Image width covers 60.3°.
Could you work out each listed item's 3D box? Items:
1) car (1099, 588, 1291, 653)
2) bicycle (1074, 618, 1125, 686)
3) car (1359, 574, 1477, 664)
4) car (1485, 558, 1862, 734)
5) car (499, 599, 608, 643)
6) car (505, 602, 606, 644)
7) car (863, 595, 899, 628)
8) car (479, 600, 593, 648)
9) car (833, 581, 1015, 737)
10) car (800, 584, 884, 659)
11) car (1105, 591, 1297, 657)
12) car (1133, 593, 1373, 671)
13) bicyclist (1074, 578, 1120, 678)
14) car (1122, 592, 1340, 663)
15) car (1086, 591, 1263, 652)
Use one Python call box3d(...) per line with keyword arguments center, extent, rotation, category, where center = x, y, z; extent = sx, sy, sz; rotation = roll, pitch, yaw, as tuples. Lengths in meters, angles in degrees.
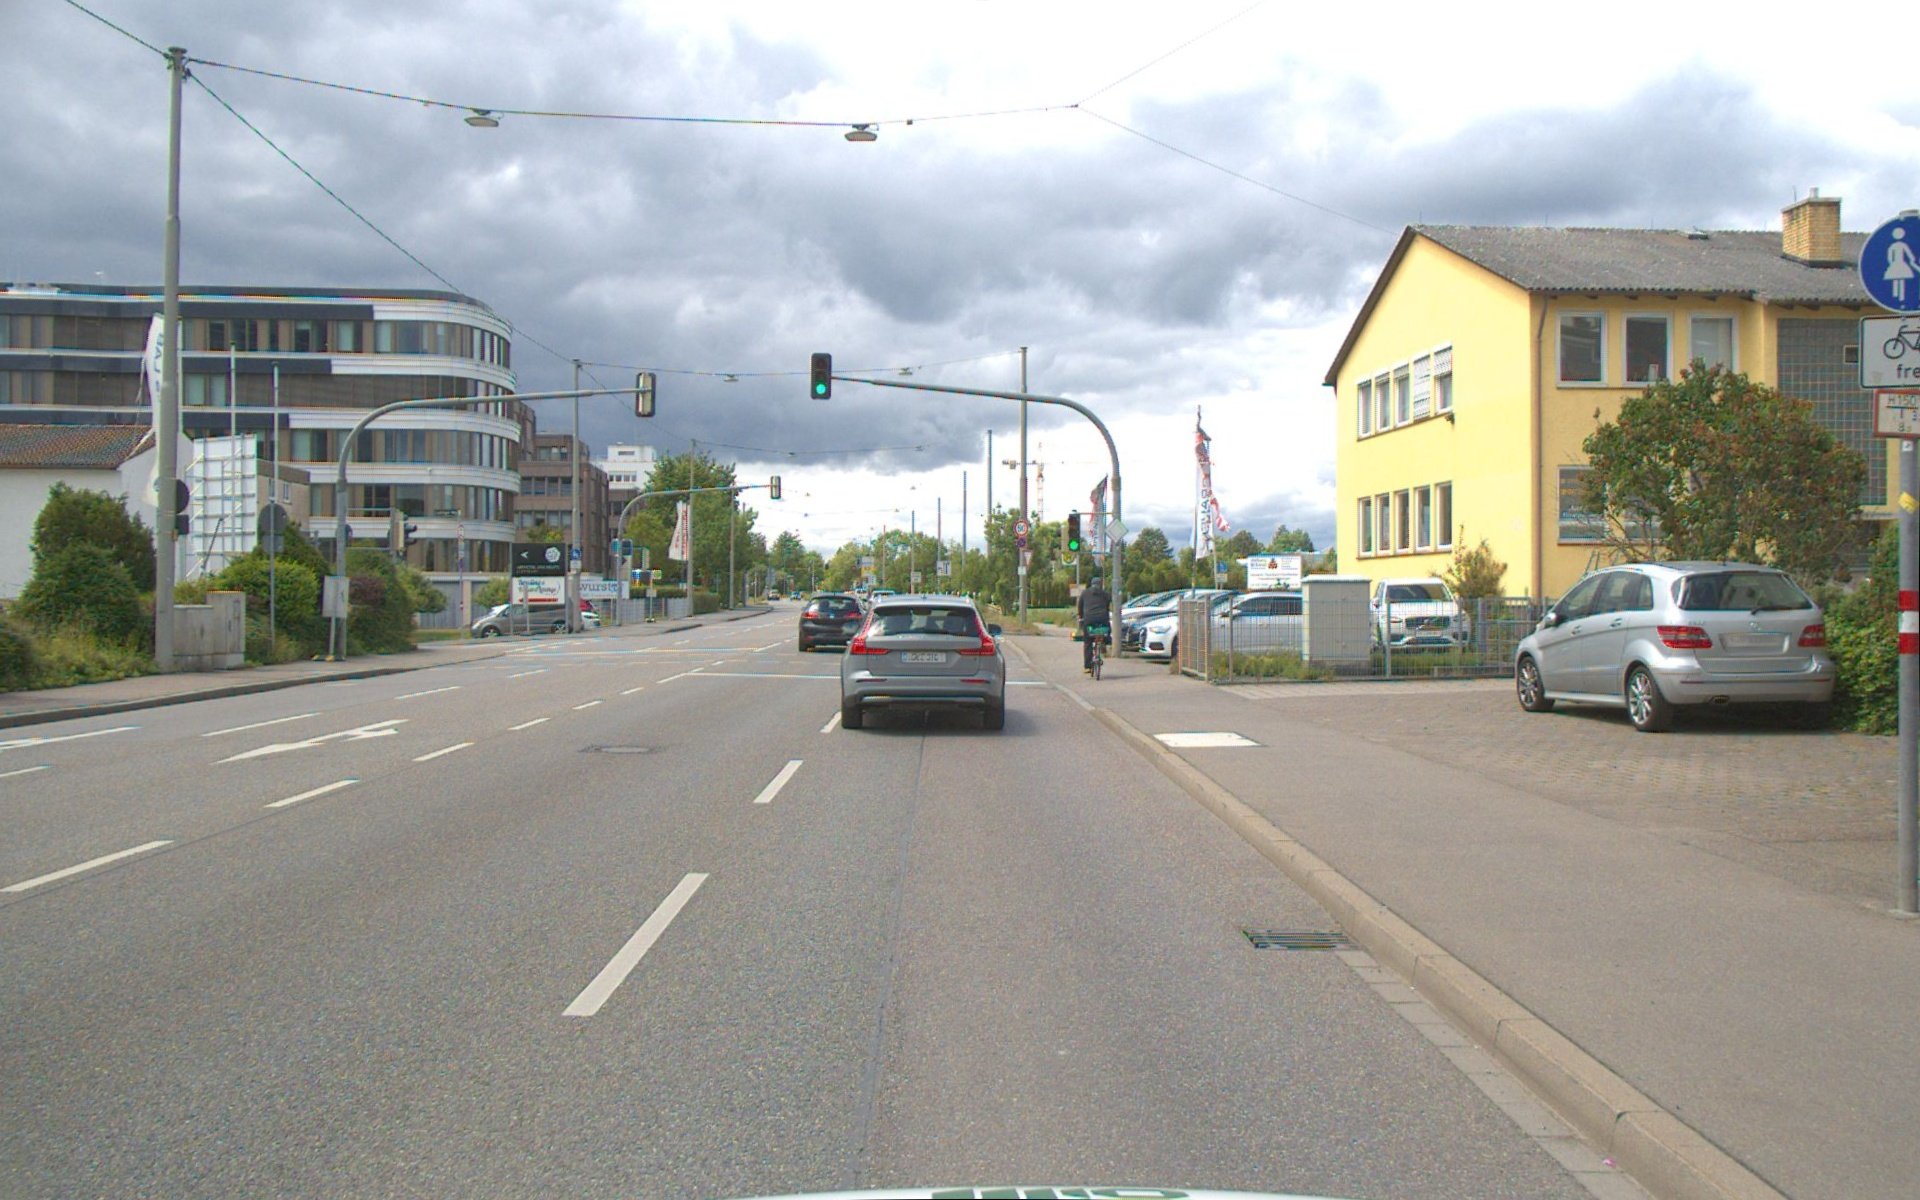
box3d(center=(6.058, 0.532, 43.066), extent=(4.702, 1.506, 2.032), rotation=(2, 0, 0), category="car")
box3d(center=(2.424, 0.889, 28.958), extent=(0.625, 1.081, 1.977), rotation=(-3, 0, -1), category="bicycle")
box3d(center=(10.166, 0.442, 37.055), extent=(1.934, 1.853, 5.034), rotation=(-1, -1, 9), category="car")
box3d(center=(7.189, 0.408, 17.249), extent=(1.838, 1.572, 4.519), rotation=(-1, 0, -2), category="car")
box3d(center=(-17.126, 0.901, 69.878), extent=(4.145, 1.411, 1.981), rotation=(-6, -1, -7), category="car")
box3d(center=(-17.673, 0.997, 72.401), extent=(3.910, 1.393, 1.847), rotation=(-6, -1, -4), category="car")
box3d(center=(-4.429, 0.655, 93.411), extent=(1.953, 1.724, 3.998), rotation=(2, -1, -2), category="car")
box3d(center=(-16.558, 0.916, 64.758), extent=(4.019, 1.422, 1.904), rotation=(-6, 1, -9), category="car")
box3d(center=(-0.371, 0.652, 19.372), extent=(1.857, 1.581, 3.999), rotation=(2, -1, 0), category="car")
box3d(center=(-2.963, 0.548, 41.747), extent=(1.954, 1.747, 3.997), rotation=(2, -1, -4), category="car")
box3d(center=(5.807, 0.564, 40.213), extent=(4.282, 1.428, 1.987), rotation=(2, 0, -3), category="car")
box3d(center=(6.036, 0.646, 34.435), extent=(4.602, 1.519, 2.045), rotation=(1, 0, -2), category="car")
box3d(center=(2.398, 0.485, 29.042), extent=(0.625, 1.704, 0.890), rotation=(-3, 0, -1), category="bicyclist")
box3d(center=(6.047, 0.609, 37.313), extent=(4.565, 1.519, 2.034), rotation=(1, 0, -2), category="car")
box3d(center=(5.878, 0.586, 45.745), extent=(4.581, 1.519, 2.015), rotation=(2, 0, 0), category="car")
